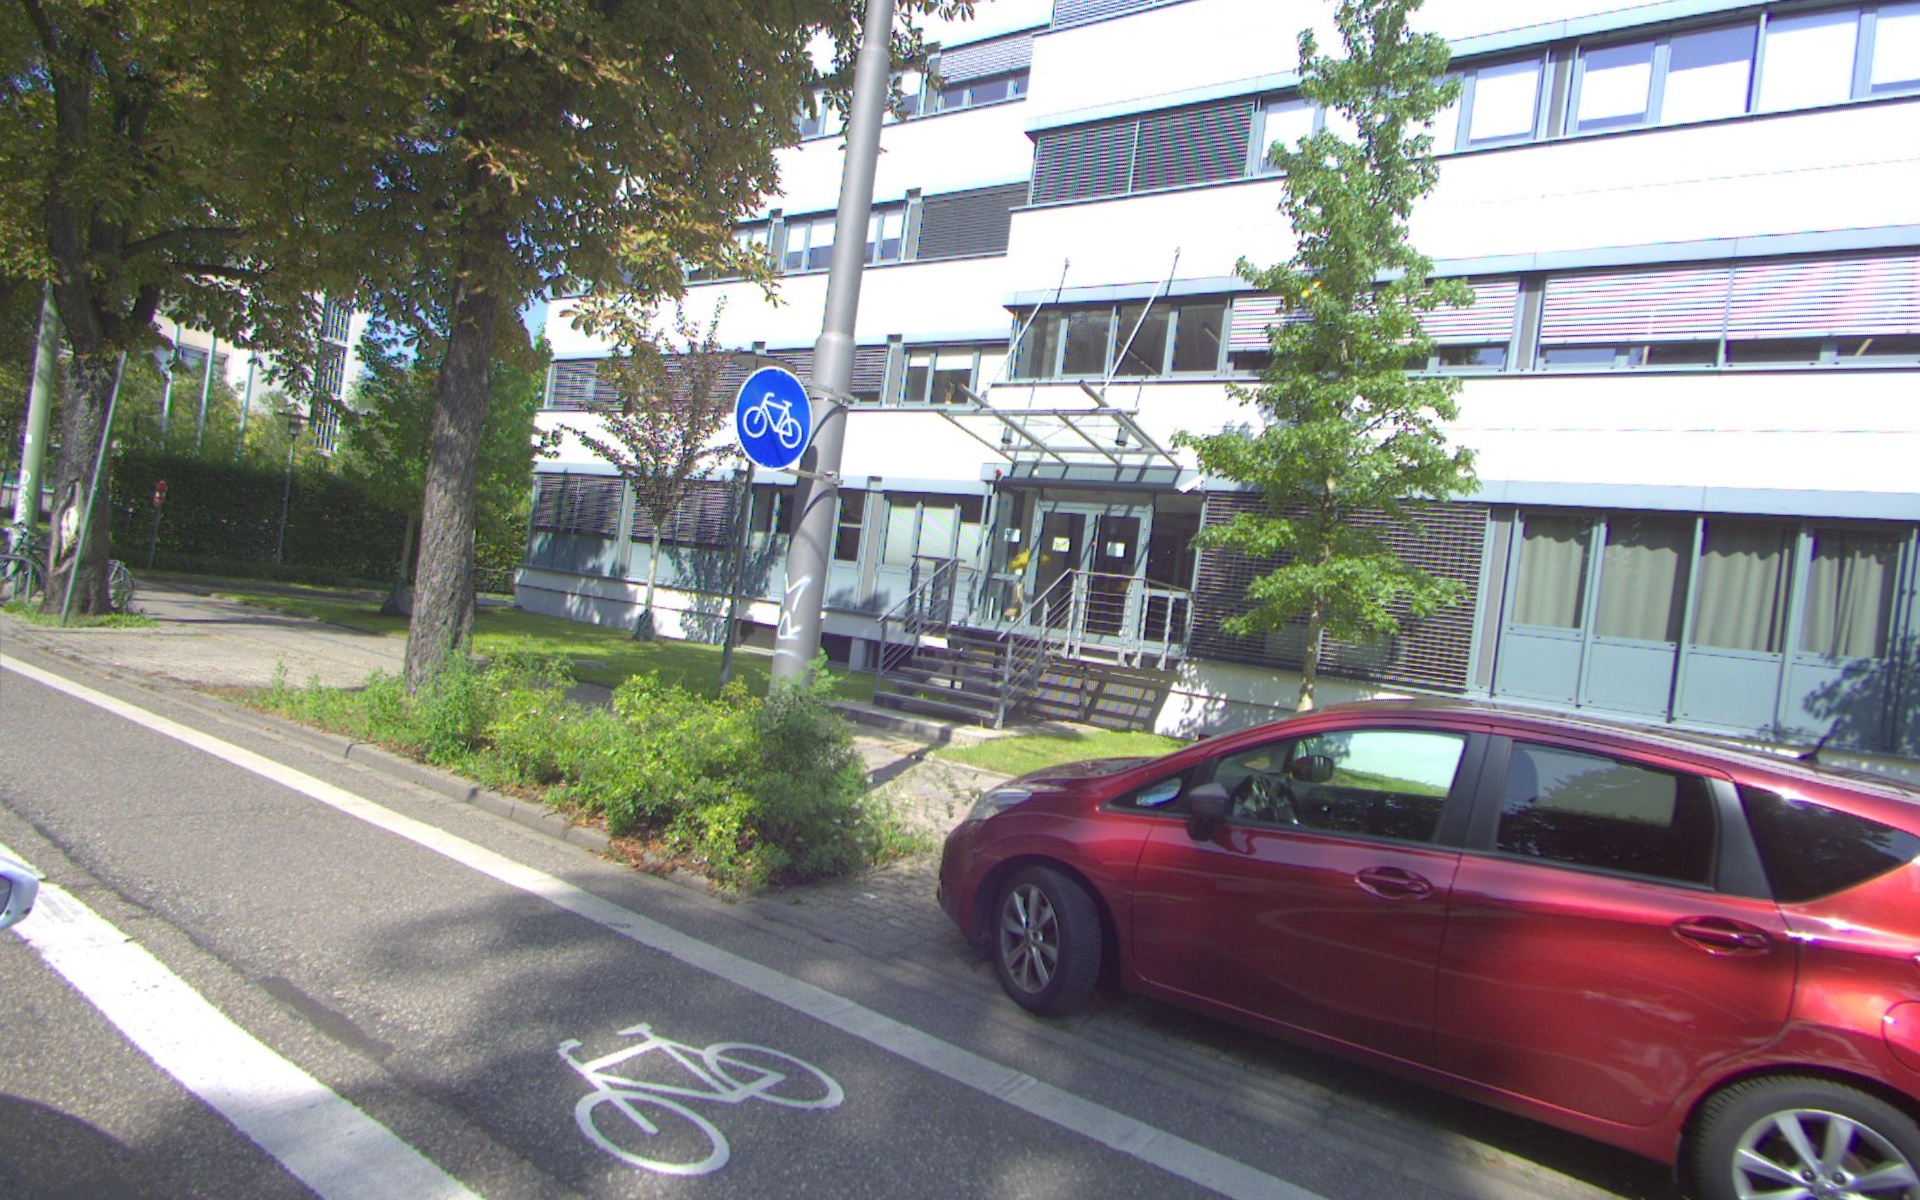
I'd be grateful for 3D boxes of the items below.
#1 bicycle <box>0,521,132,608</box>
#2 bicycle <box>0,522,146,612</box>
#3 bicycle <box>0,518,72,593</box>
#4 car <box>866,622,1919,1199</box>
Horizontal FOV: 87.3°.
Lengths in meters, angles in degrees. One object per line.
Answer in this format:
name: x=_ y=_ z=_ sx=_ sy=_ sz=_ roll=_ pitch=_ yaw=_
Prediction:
bicycle: x=-12.931 y=-0.504 z=14.202 sx=0.532 sy=1.062 sz=1.773 roll=7 pitch=0 yaw=31
bicycle: x=-12.398 y=-0.444 z=13.803 sx=0.532 sy=1.062 sz=1.773 roll=7 pitch=0 yaw=31
bicycle: x=-14.976 y=-0.741 z=15.511 sx=0.532 sy=1.062 sz=1.773 roll=7 pitch=0 yaw=31
car: x=1.876 y=1.116 z=4.171 sx=4.205 sy=1.479 sz=1.758 roll=7 pitch=0 yaw=33
